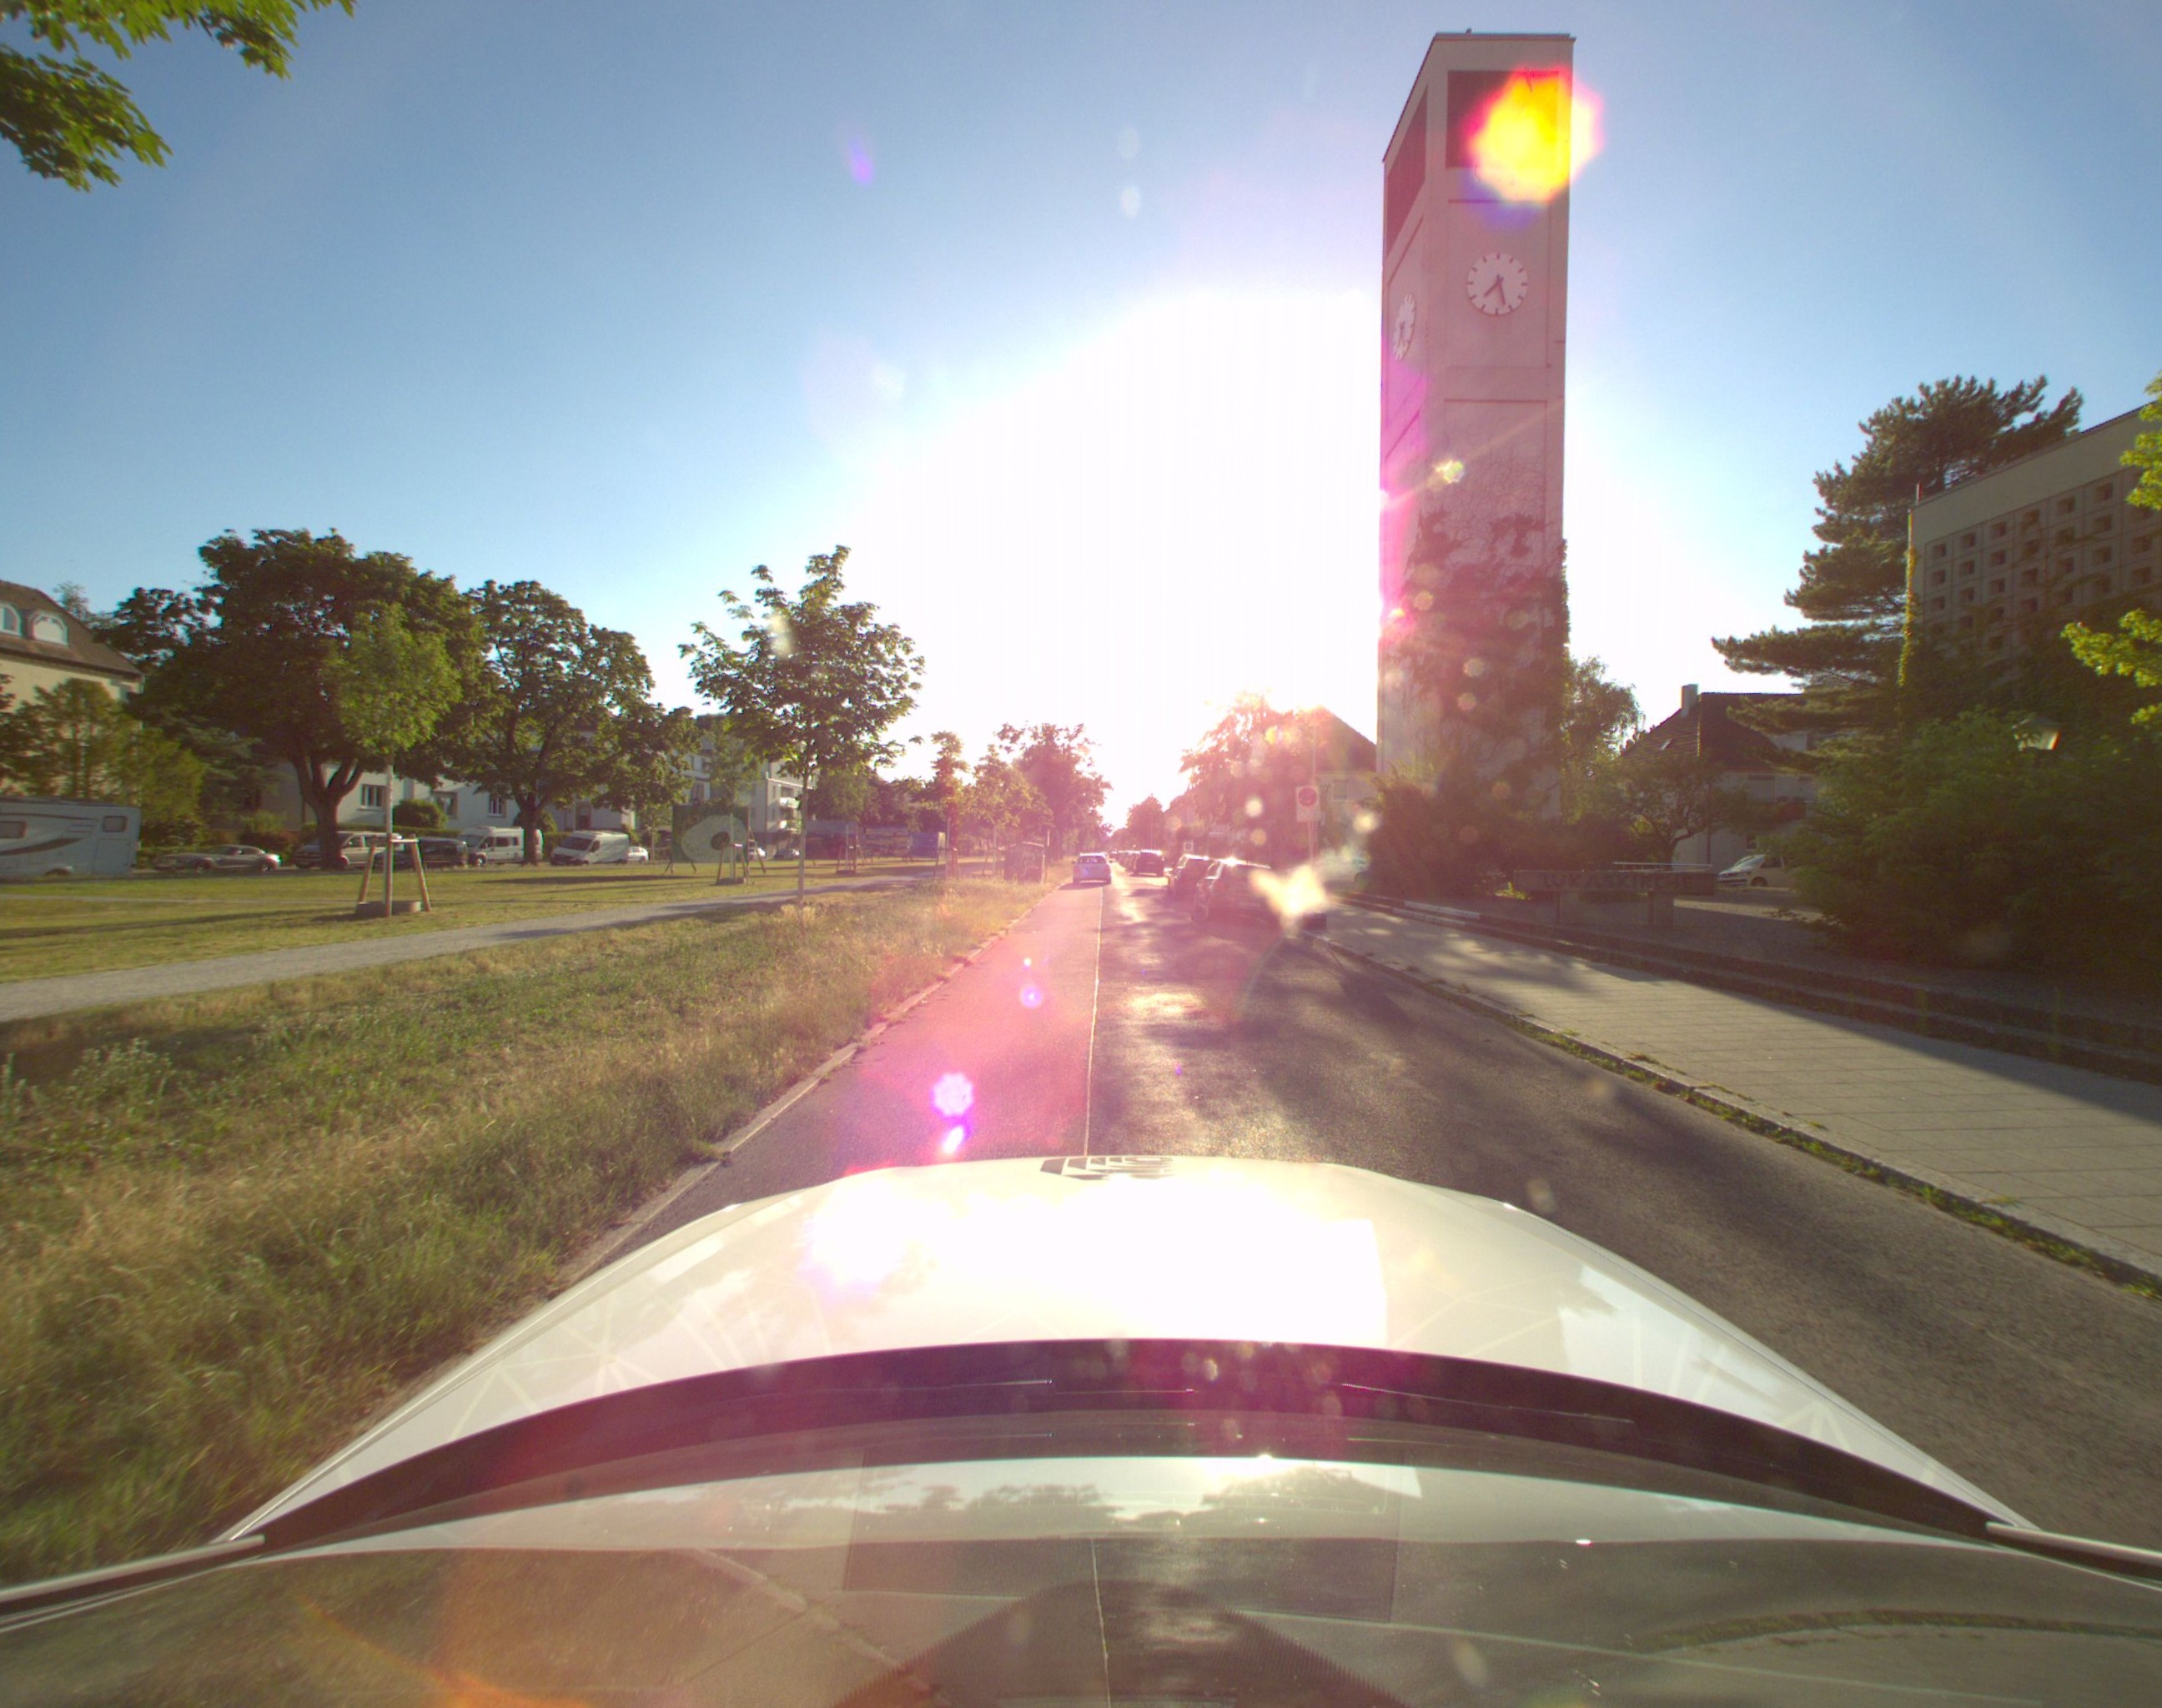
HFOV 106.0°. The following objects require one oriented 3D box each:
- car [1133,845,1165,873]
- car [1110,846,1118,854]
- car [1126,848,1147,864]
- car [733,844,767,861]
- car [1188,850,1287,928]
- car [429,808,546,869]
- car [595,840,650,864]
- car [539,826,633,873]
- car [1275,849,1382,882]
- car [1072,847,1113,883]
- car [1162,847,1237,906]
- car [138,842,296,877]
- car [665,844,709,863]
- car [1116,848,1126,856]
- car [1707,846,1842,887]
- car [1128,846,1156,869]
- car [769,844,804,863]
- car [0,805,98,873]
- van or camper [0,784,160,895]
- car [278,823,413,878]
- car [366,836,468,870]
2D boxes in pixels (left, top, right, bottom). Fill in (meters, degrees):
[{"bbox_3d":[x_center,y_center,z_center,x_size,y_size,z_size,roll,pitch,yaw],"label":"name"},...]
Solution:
[{"bbox_3d":[4.564,0.314,55.268,1.826,1.732,5.033,3,0,1],"label":"car"},{"bbox_3d":[8.622,-1.013,211.652,1.981,2.023,4.002,1,0,2],"label":"car"},{"bbox_3d":[5.607,0.202,82.909,1.985,1.462,4.565,2,1,3],"label":"car"},{"bbox_3d":[-37.186,-0.144,91.626,1.814,1.744,4.463,-3,-1,3],"label":"car"},{"bbox_3d":[3.719,0.762,20.045,1.681,1.527,4.177,4,1,2],"label":"car"},{"bbox_3d":[-37.999,-0.923,52.463,2.294,3.559,6.768,-3,-1,2],"label":"car"},{"bbox_3d":[-37.761,-0.123,67.221,1.724,1.854,4.715,-3,-1,1],"label":"car"},{"bbox_3d":[-32.205,-0.259,53.243,2.252,2.826,5.874,-3,-1,2],"label":"car"},{"bbox_3d":[12.412,0.606,41.013,4.830,1.486,2.002,1,-3,1],"label":"car"},{"bbox_3d":[0.602,0.461,38.280,1.816,1.566,4.003,-1,1,2],"label":"car"},{"bbox_3d":[3.792,0.662,26.756,1.815,1.561,4.625,7,1,2],"label":"car"},{"bbox_3d":[-38.792,0.246,36.771,1.984,1.403,4.568,-3,-1,5],"label":"car"},{"bbox_3d":[-37.439,-0.025,77.493,1.775,1.702,4.668,-3,-1,2],"label":"car"},{"bbox_3d":[7.544,-0.375,153.421,1.715,1.597,4.002,0,0,2],"label":"car"},{"bbox_3d":[34.650,0.674,40.786,4.990,1.973,2.171,0,-2,-3],"label":"car"},{"bbox_3d":[4.973,0.257,66.997,1.926,1.720,4.623,3,1,1],"label":"car"},{"bbox_3d":[-31.429,-0.014,87.052,1.882,1.916,4.329,-3,-1,2],"label":"car"},{"bbox_3d":[-33.018,-0.456,24.484,1.986,2.013,4.003,1,1,2],"label":"car"},{"bbox_3d":[-33.018,-0.456,24.484,2.631,3.262,6.909,1,1,2],"label":"van or camper"},{"bbox_3d":[-38.415,-0.141,42.777,2.129,2.604,5.325,-3,-1,0],"label":"car"},{"bbox_3d":[-32.345,-0.053,39.852,1.409,1.564,4.310,1,0,1],"label":"car"}]
